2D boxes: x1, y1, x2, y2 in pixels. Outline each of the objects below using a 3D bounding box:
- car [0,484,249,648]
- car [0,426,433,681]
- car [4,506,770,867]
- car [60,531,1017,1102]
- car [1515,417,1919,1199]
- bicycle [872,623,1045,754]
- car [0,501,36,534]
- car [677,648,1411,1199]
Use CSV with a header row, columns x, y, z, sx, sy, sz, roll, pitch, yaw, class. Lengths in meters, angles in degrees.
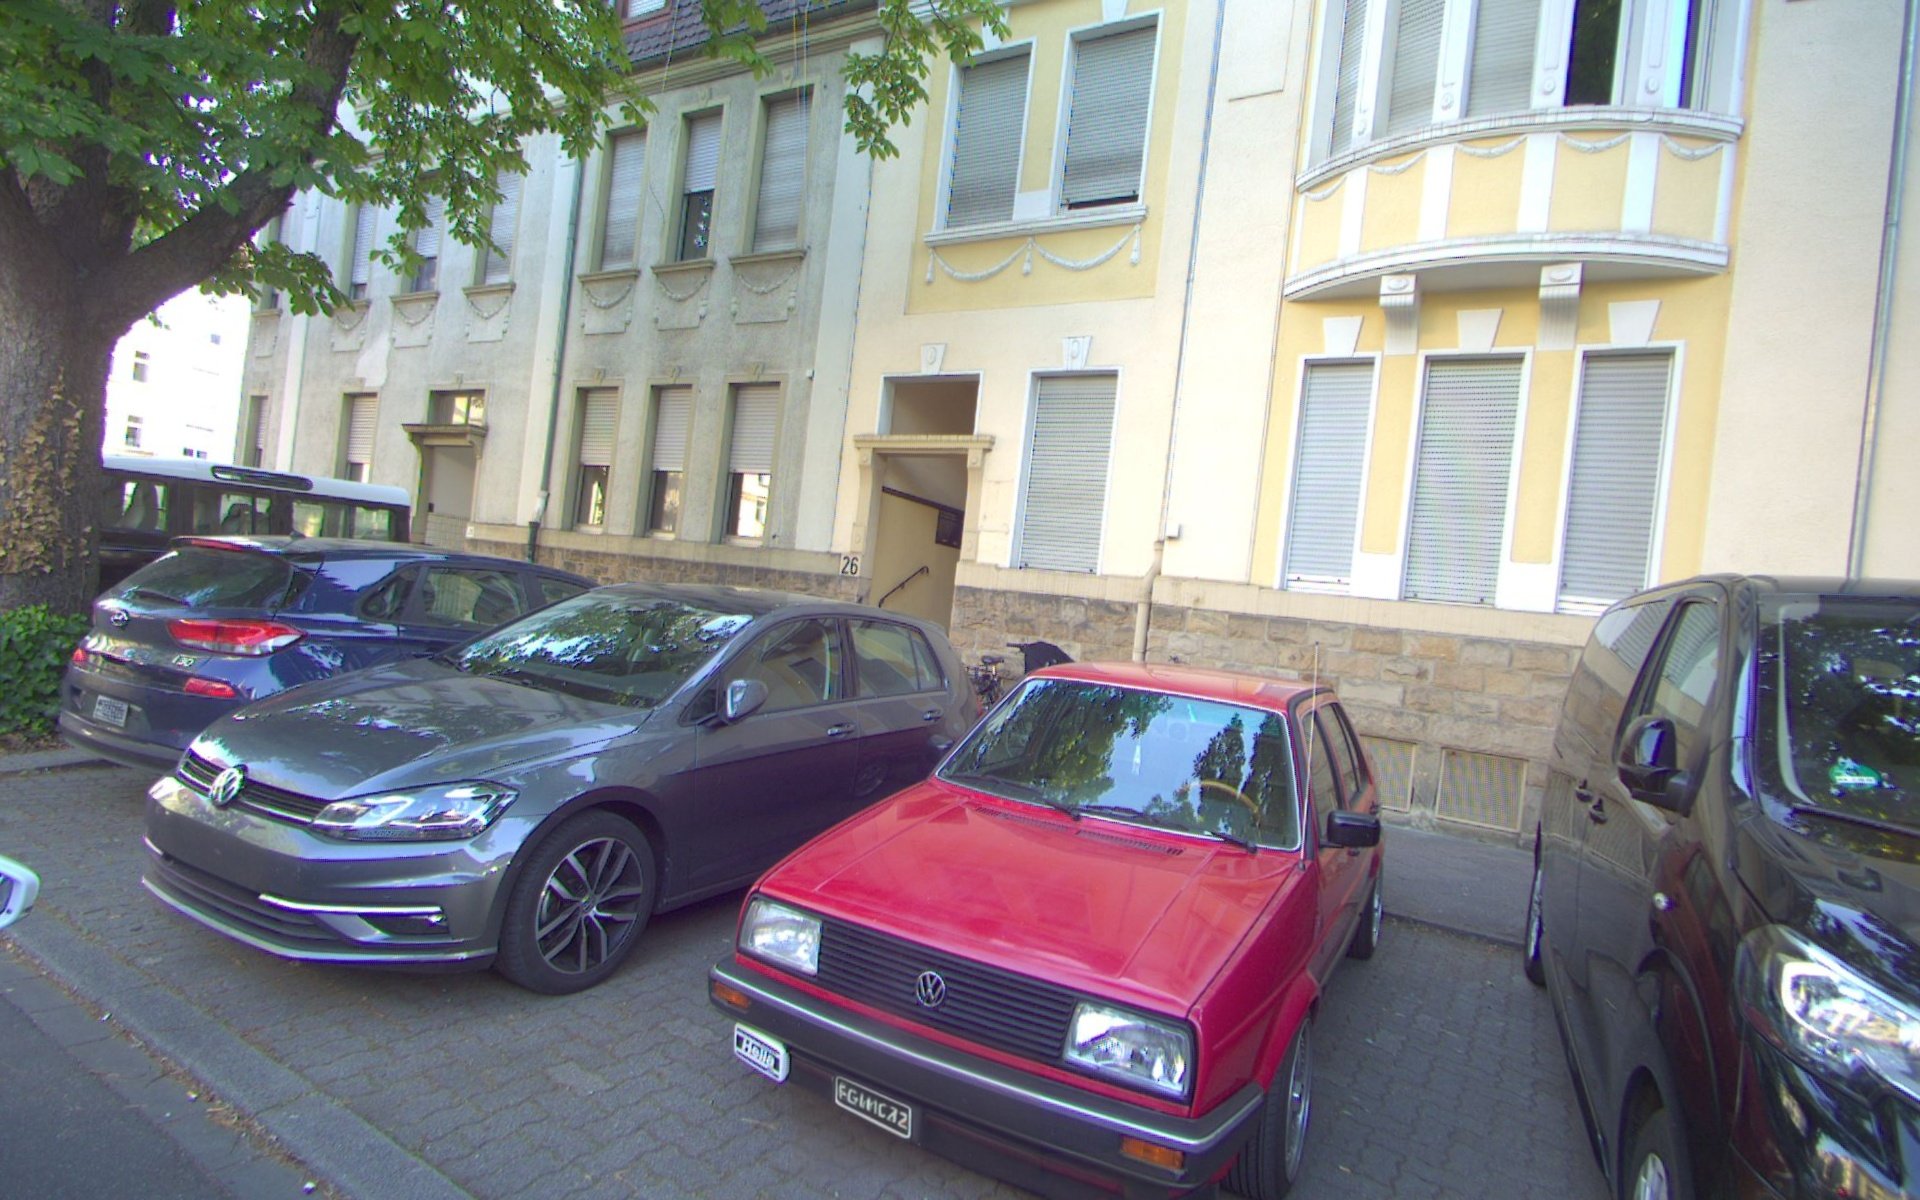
x,y,z,sx,sy,sz,roll,pitch,yaw,class
-10.091,-0.403,10.858,1.680,1.606,3.488,7,0,25,car
-7.614,-0.382,9.320,1.762,1.981,4.496,7,1,29,car
-3.060,0.413,6.199,1.600,1.440,3.754,6,0,29,car
-1.372,0.646,4.832,1.600,1.440,4.054,6,0,29,car
2.886,0.888,2.956,1.848,1.847,4.829,6,0,27,car
-0.035,0.877,10.394,1.675,1.090,0.500,7,2,31,bicycle
-36.290,-3.228,36.787,1.357,1.081,3.370,7,-1,30,car
0.839,0.960,4.236,1.532,1.337,3.916,6,0,29,car
